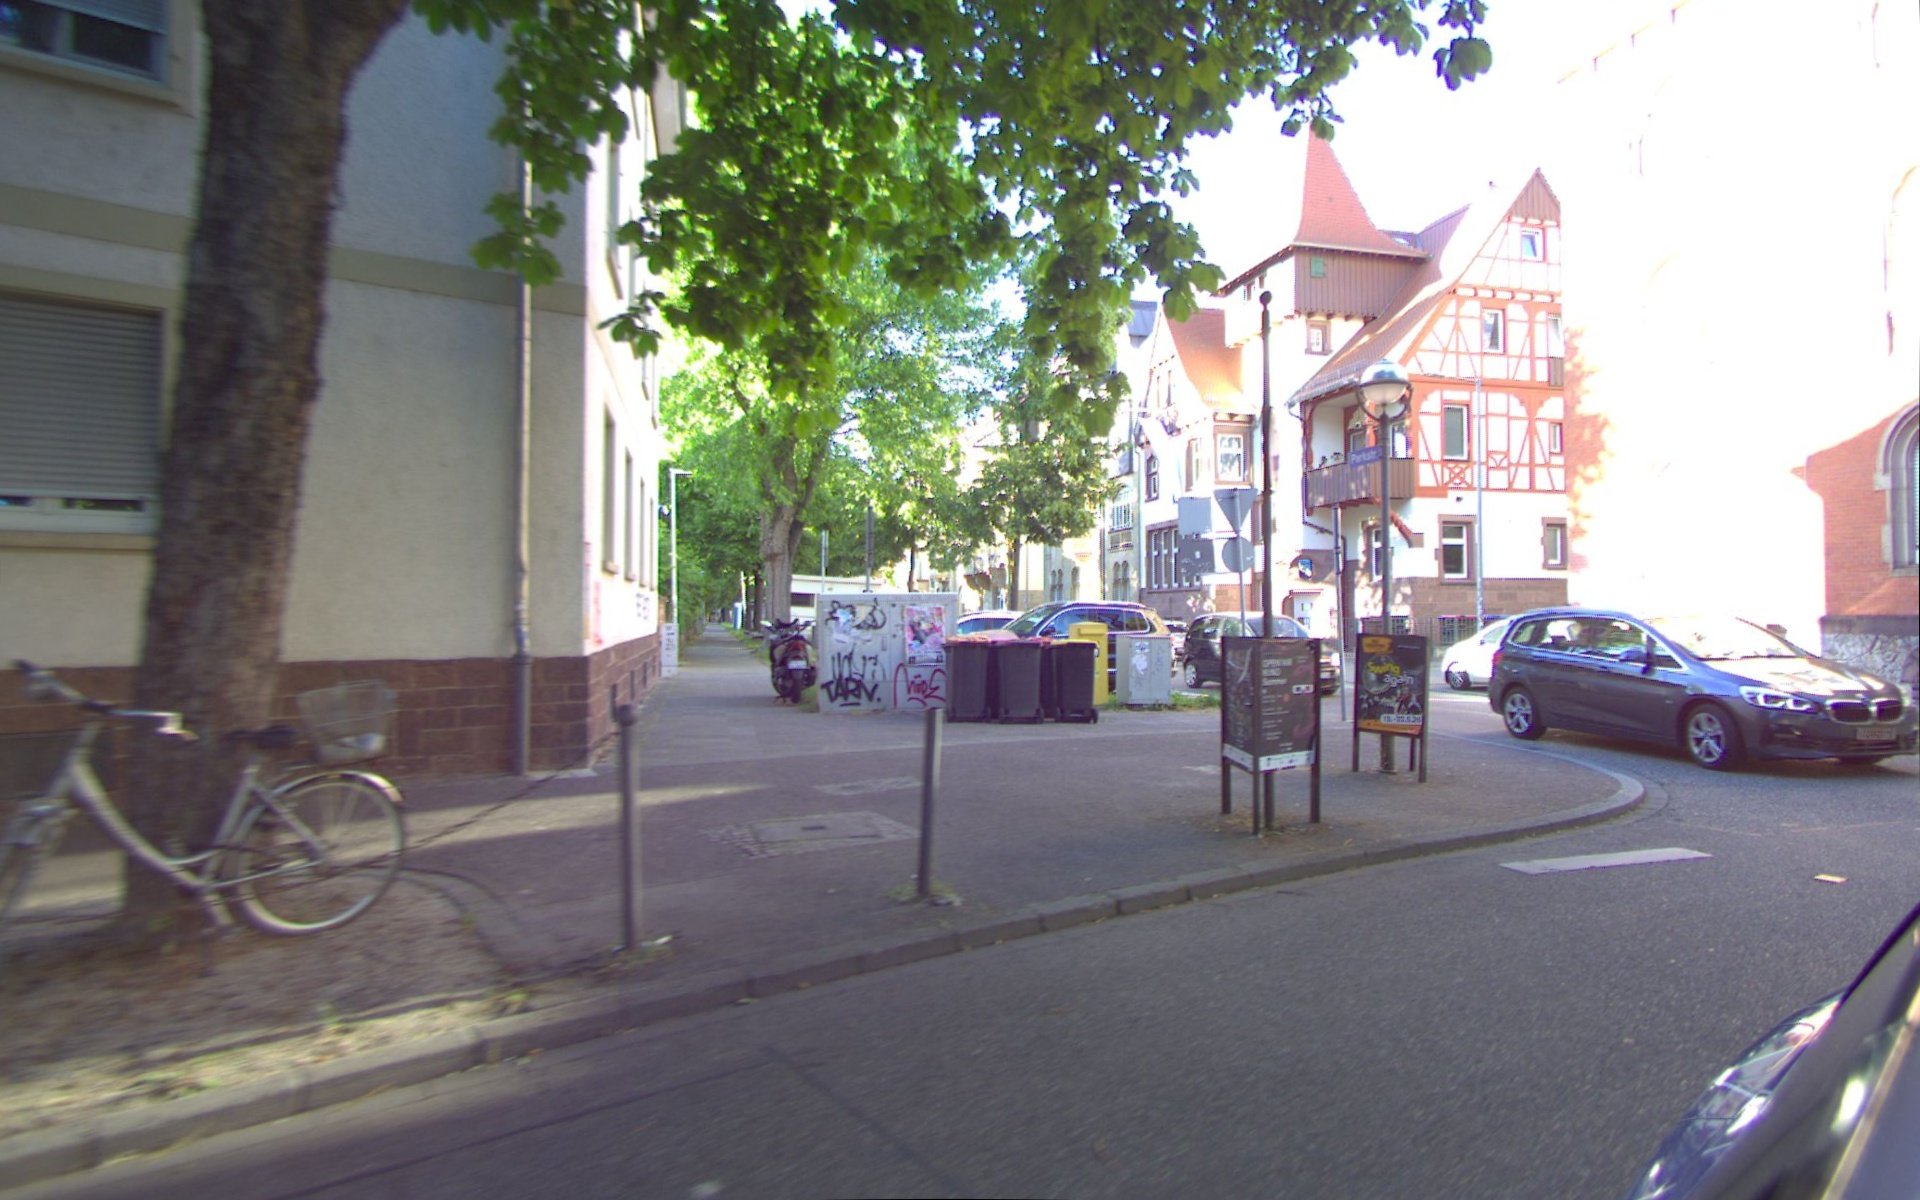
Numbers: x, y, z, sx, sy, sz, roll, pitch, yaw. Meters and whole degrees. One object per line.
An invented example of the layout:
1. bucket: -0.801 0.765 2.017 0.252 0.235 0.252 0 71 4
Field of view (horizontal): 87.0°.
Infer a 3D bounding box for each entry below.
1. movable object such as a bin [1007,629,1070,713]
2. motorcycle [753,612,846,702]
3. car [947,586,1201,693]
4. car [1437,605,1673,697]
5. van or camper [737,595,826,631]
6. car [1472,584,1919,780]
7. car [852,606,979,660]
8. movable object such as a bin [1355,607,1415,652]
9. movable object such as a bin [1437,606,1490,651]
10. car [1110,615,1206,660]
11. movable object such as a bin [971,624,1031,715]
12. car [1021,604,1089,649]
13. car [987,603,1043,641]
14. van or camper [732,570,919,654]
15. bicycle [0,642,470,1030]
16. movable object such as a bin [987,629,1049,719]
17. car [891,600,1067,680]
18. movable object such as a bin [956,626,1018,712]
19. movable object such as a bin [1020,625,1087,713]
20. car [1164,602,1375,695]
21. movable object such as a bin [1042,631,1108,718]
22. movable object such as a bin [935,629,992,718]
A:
1. movable object such as a bin: 1.129 1.008 14.643 0.724 1.167 0.717 0 -1 -13
2. motorcycle: -2.532 0.833 15.699 0.958 1.296 2.186 1 -1 -22
3. car: 2.001 0.707 18.097 4.032 1.735 2.027 1 -2 -18
4. car: 11.249 0.904 19.467 1.675 1.504 3.804 -2 0 -14
5. van or camper: -14.798 1.053 83.745 7.119 2.941 2.433 0 0 -14
6. car: 7.965 0.719 11.143 1.887 1.626 4.522 -3 0 -7
7. car: -1.346 0.996 30.266 3.525 1.525 1.680 1 -2 -13
8. movable object such as a bin: 12.843 0.891 30.623 1.353 1.315 0.969 -1 -1 -4
9. movable object such as a bin: 15.488 0.863 31.141 1.355 1.334 0.688 -1 -1 -21
10. car: 7.060 1.292 36.525 1.713 1.485 4.111 -1 -1 -16
11. movable object such as a bin: 0.548 0.921 13.680 0.620 1.168 0.703 -1 -1 -13
12. car: 4.389 1.201 47.258 1.766 1.931 4.332 -2 0 -14
13. car: 2.890 1.162 54.090 1.738 1.875 4.549 -1 -1 -14
14. van or camper: -5.297 0.446 39.568 6.950 3.117 2.469 0 -1 -16
15. bicycle: -2.925 0.793 3.949 0.552 1.197 1.766 -1 -1 38
16. movable object such as a bin: 0.732 0.929 12.957 0.617 1.089 0.706 0 -1 -13
17. car: 0.378 0.852 22.464 3.628 1.672 1.706 0 -1 -10
18. movable object such as a bin: 0.373 0.967 14.406 0.724 1.167 0.703 0 -1 -13
19. movable object such as a bin: 1.274 0.927 13.885 0.724 1.167 0.703 0 -1 -13
20. car: 6.095 0.923 20.513 1.958 1.613 4.270 -2 -1 -17
21. movable object such as a bin: 1.490 0.958 13.207 0.645 1.078 0.696 0 -1 -13
22. movable object such as a bin: 0.038 0.932 13.022 0.580 1.097 0.675 0 -1 -15
